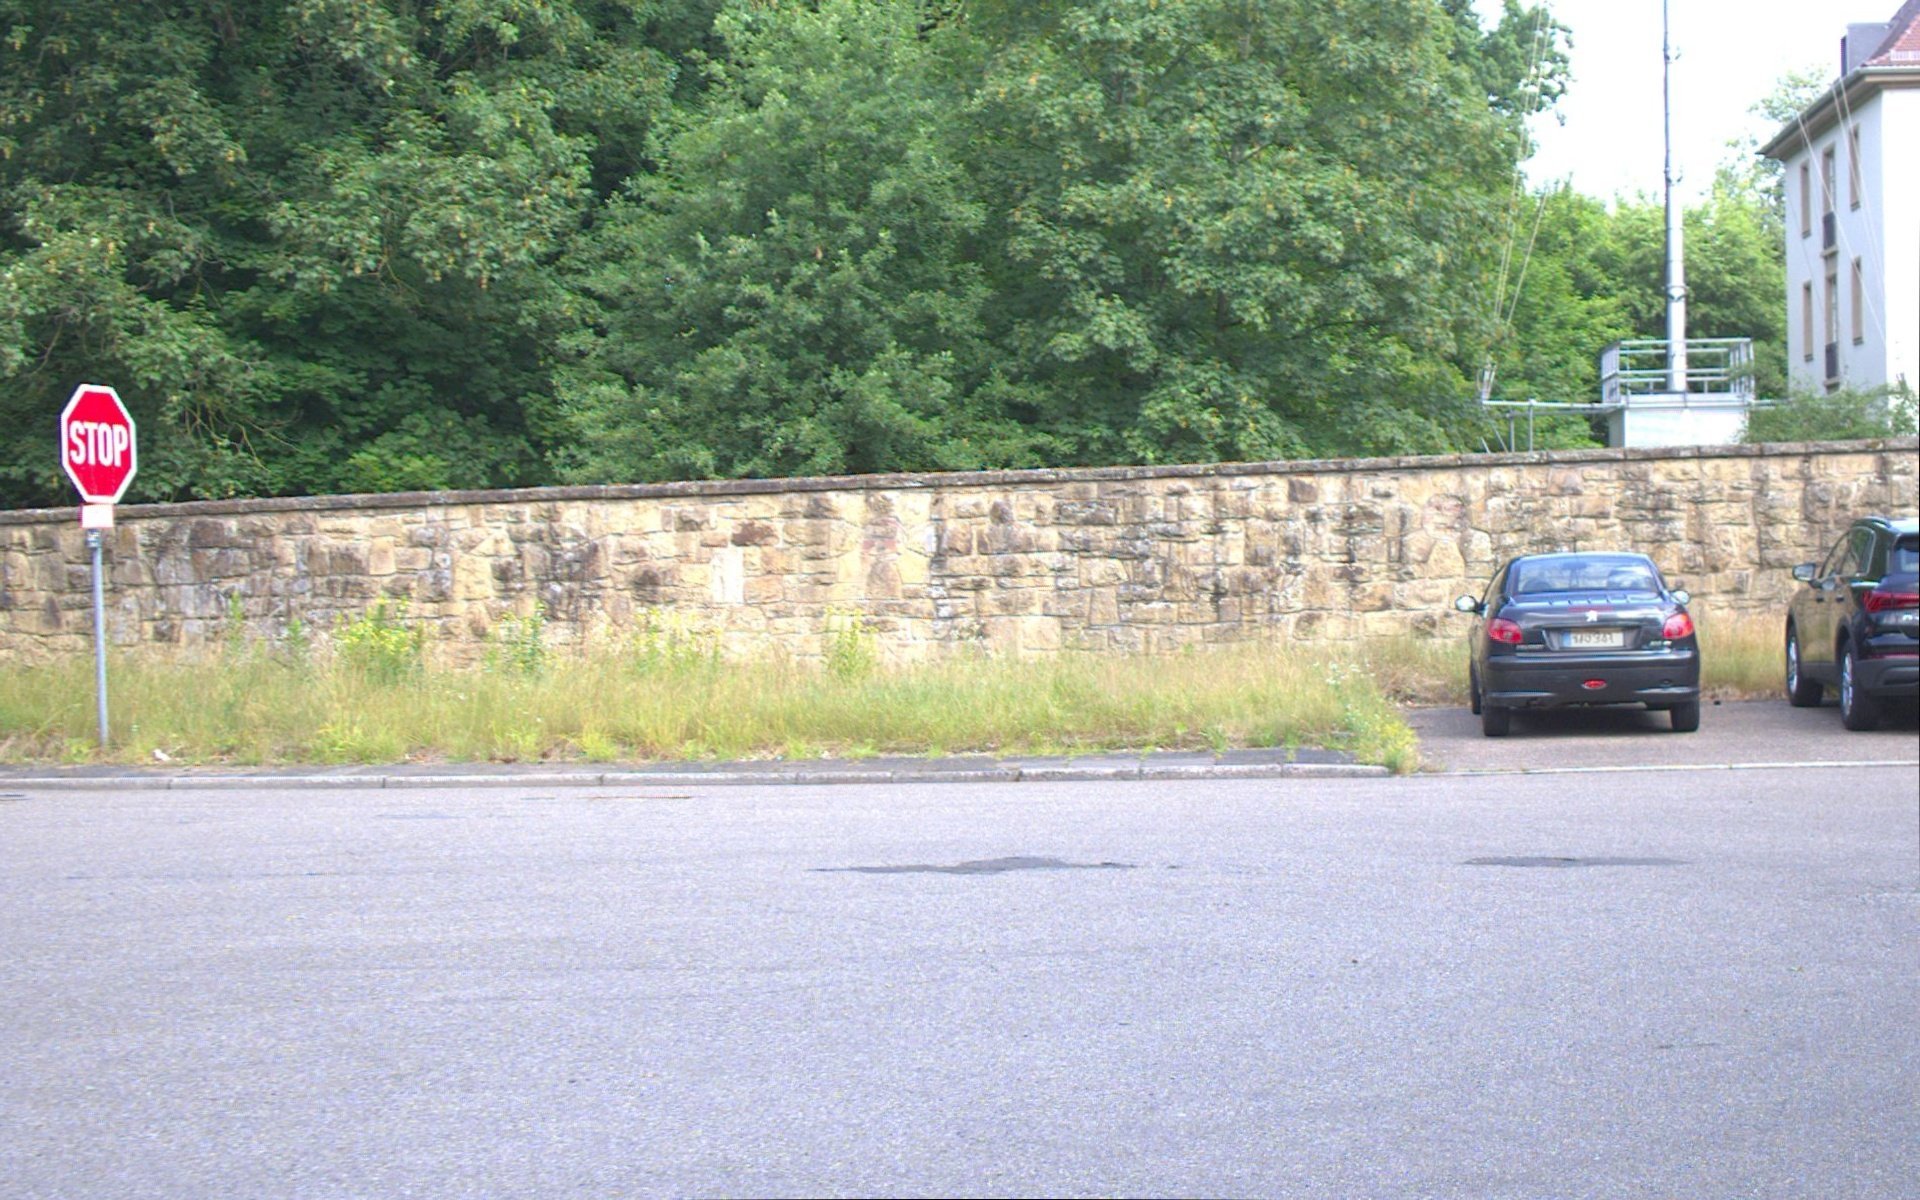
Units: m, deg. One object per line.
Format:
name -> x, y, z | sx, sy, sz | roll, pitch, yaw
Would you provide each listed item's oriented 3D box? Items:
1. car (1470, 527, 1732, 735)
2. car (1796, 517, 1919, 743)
car -> 5.064, 0.193, 27.576 | 1.874, 1.436, 3.999 | -1, 2, 8
car -> 7.694, 0.163, 26.706 | 1.894, 1.541, 3.999 | -1, 2, 8
